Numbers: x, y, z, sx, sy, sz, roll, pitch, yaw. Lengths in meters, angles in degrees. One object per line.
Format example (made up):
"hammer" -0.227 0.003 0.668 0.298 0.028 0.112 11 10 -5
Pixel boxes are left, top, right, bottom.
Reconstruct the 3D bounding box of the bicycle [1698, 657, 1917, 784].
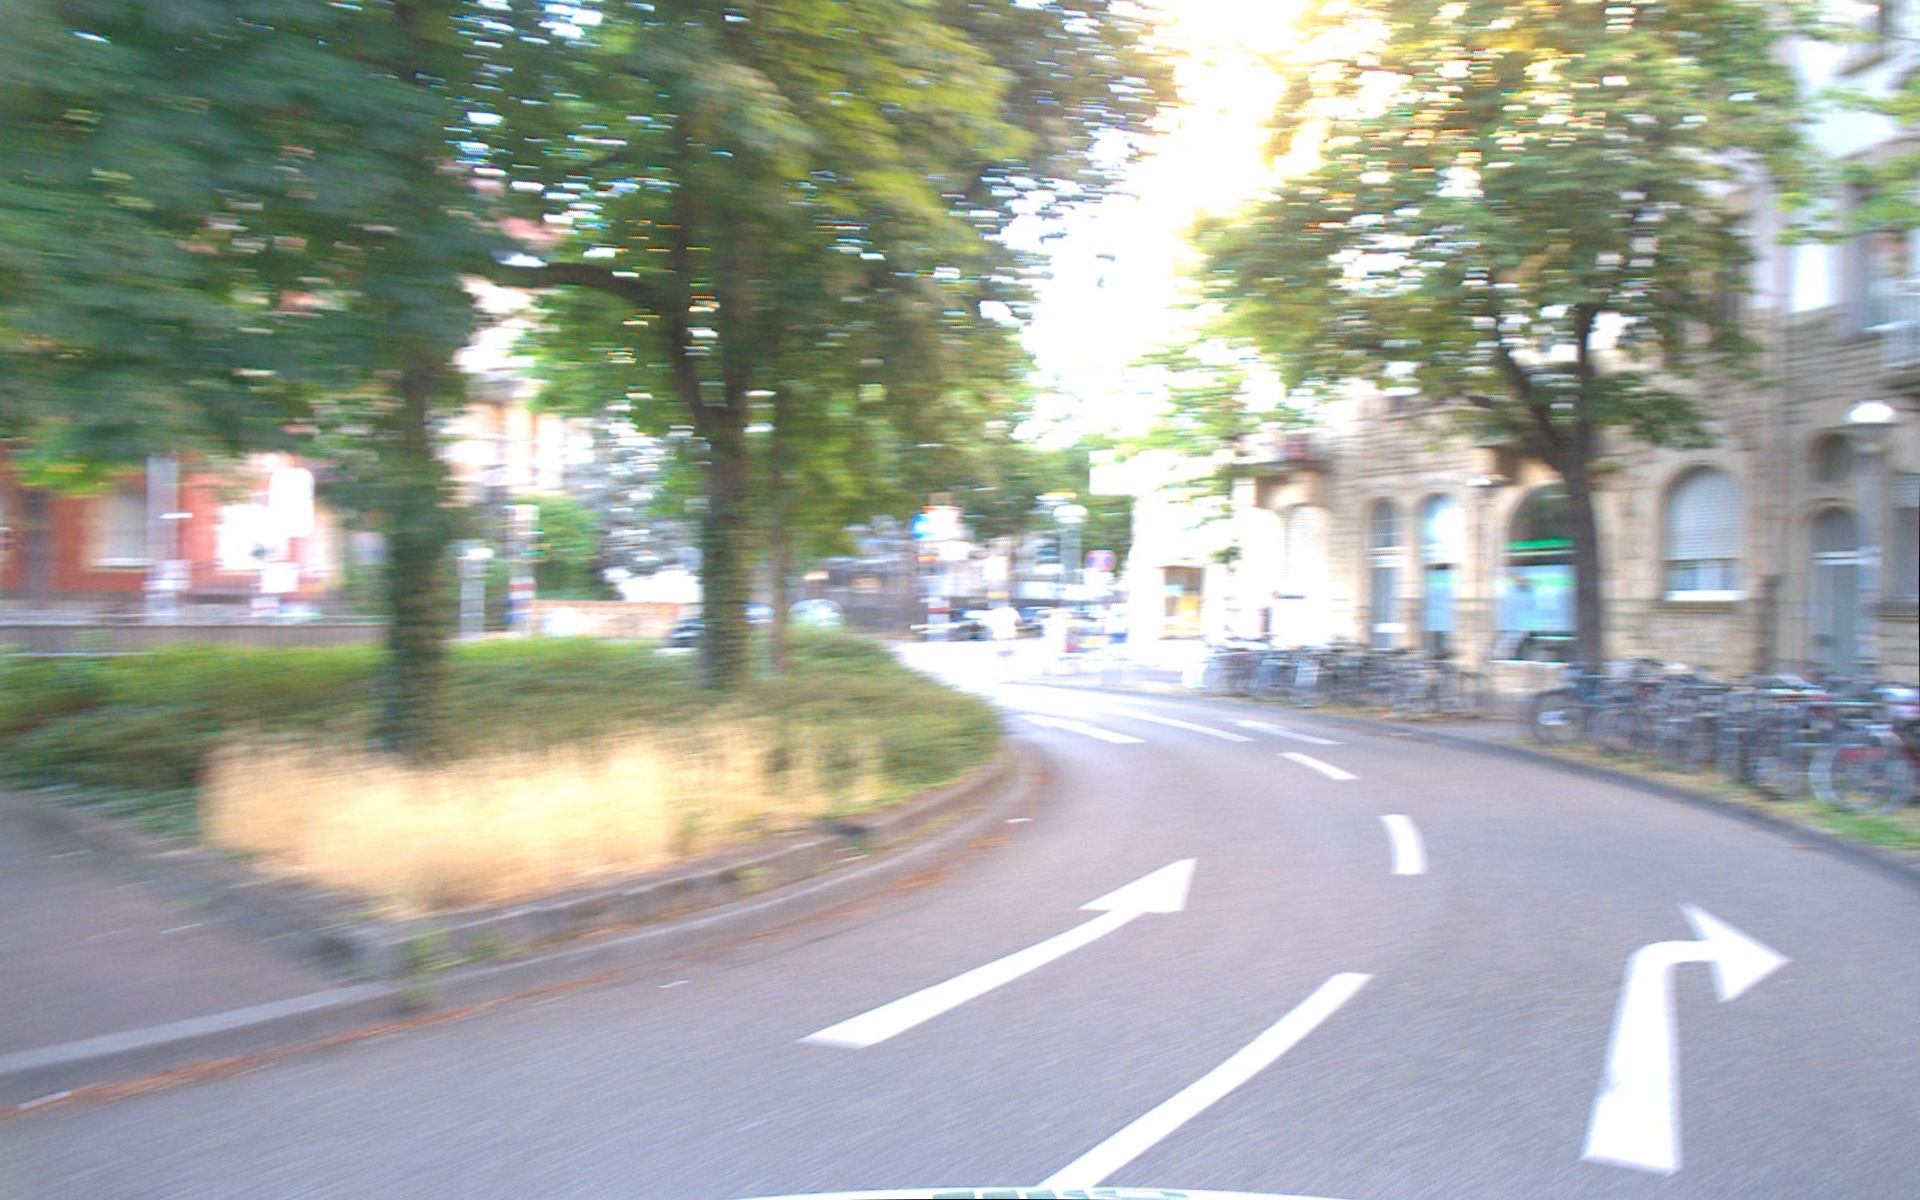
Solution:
"bicycle" 7.999 1.133 15.652 1.810 1.136 0.419 1 0 5

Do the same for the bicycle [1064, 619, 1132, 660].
"bicycle" 3.981 1.129 47.761 1.838 1.150 0.729 1 0 -11

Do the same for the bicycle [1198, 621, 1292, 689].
"bicycle" 5.507 1.054 31.935 1.766 1.258 0.645 1 0 -28

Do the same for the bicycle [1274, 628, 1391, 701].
"bicycle" 6.299 1.087 27.965 1.854 1.183 0.638 1 0 -16

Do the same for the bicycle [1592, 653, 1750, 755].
"bicycle" 8.216 1.184 19.097 1.824 1.123 0.570 1 0 -23

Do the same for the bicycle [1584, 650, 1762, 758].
"bicycle" 7.996 1.163 18.578 1.811 1.164 0.419 1 0 1

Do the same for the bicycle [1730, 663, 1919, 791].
"bicycle" 7.953 1.127 14.776 1.875 1.083 0.553 1 0 3

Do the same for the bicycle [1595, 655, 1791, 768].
"bicycle" 7.908 1.207 17.899 1.811 1.110 0.419 1 -19 1

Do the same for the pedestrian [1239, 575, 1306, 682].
"pedestrian" 6.293 0.561 33.393 0.993 2.122 1.057 0 1 -13

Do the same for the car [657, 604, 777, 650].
"car" -8.422 0.928 57.719 1.907 1.536 4.413 1 0 28

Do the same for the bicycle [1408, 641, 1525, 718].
"bicycle" 7.397 1.154 24.134 1.643 1.097 0.484 1 0 -17

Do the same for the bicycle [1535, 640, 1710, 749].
"bicycle" 7.821 1.122 19.574 1.840 1.238 0.492 1 -6 1

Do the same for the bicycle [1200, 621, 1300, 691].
"bicycle" 5.388 1.031 30.762 1.765 1.258 0.694 1 0 -26

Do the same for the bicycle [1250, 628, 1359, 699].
"bicycle" 5.967 1.086 28.633 1.862 1.183 0.635 1 0 -26

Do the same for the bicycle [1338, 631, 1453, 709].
"bicycle" 6.812 1.101 25.902 1.638 1.147 0.486 1 6 -8

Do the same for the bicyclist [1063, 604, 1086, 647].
"bicyclist" 4.008 0.886 57.717 0.682 1.487 0.784 1 0 11

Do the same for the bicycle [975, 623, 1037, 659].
"bicycle" 1.415 1.272 51.021 1.760 1.073 0.696 1 0 -20

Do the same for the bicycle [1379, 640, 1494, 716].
"bicycle" 7.085 1.147 24.575 1.643 1.097 0.484 1 0 -17

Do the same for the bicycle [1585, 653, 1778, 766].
"bicycle" 7.905 1.204 18.176 1.811 1.148 0.419 1 -19 1

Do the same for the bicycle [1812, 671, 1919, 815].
"bicycle" 7.669 1.119 12.919 1.753 1.082 0.448 1 0 5

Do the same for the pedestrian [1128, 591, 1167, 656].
"pedestrian" 5.359 0.659 47.385 0.851 1.826 0.922 1 0 -11

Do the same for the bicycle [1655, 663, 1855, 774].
"bicycle" 8.004 1.186 16.680 1.811 1.070 0.419 1 0 1

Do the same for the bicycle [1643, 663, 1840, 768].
"bicycle" 8.005 1.178 16.972 1.811 1.017 0.419 1 0 1

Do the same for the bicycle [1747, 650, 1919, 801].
"bicycle" 7.768 1.059 14.055 1.875 1.221 0.553 1 0 3

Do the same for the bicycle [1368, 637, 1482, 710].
"bicycle" 7.212 1.138 25.669 1.639 1.097 0.485 1 0 -9

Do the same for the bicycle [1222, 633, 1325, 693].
"bicycle" 5.674 1.133 29.948 1.779 1.056 0.694 1 0 -26

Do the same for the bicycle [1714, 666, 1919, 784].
"bicycle" 8.008 1.152 15.325 1.810 1.032 0.419 1 0 5

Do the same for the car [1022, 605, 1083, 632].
"car" 5.299 1.058 94.310 1.907 1.508 4.162 1 0 28

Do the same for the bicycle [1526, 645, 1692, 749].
"bicycle" 7.850 1.175 20.011 1.846 1.159 0.491 2 3 -12

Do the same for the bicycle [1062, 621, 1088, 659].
"bicycle" 4.025 1.385 57.790 0.682 1.258 1.864 1 0 11

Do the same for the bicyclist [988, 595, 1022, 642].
"bicyclist" 1.385 0.580 51.016 0.849 1.436 0.696 1 0 -20

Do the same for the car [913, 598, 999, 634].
"car" -0.142 0.696 74.050 1.907 1.536 4.625 1 0 28

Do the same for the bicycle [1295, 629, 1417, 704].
"bicycle" 6.517 1.089 27.238 1.854 1.183 0.702 1 0 -16

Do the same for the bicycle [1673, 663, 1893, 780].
"bicycle" 8.038 1.178 16.194 1.875 1.079 0.535 1 0 2

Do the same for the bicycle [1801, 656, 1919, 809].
"bicycle" 7.778 1.063 13.318 1.753 1.188 0.448 1 0 5
